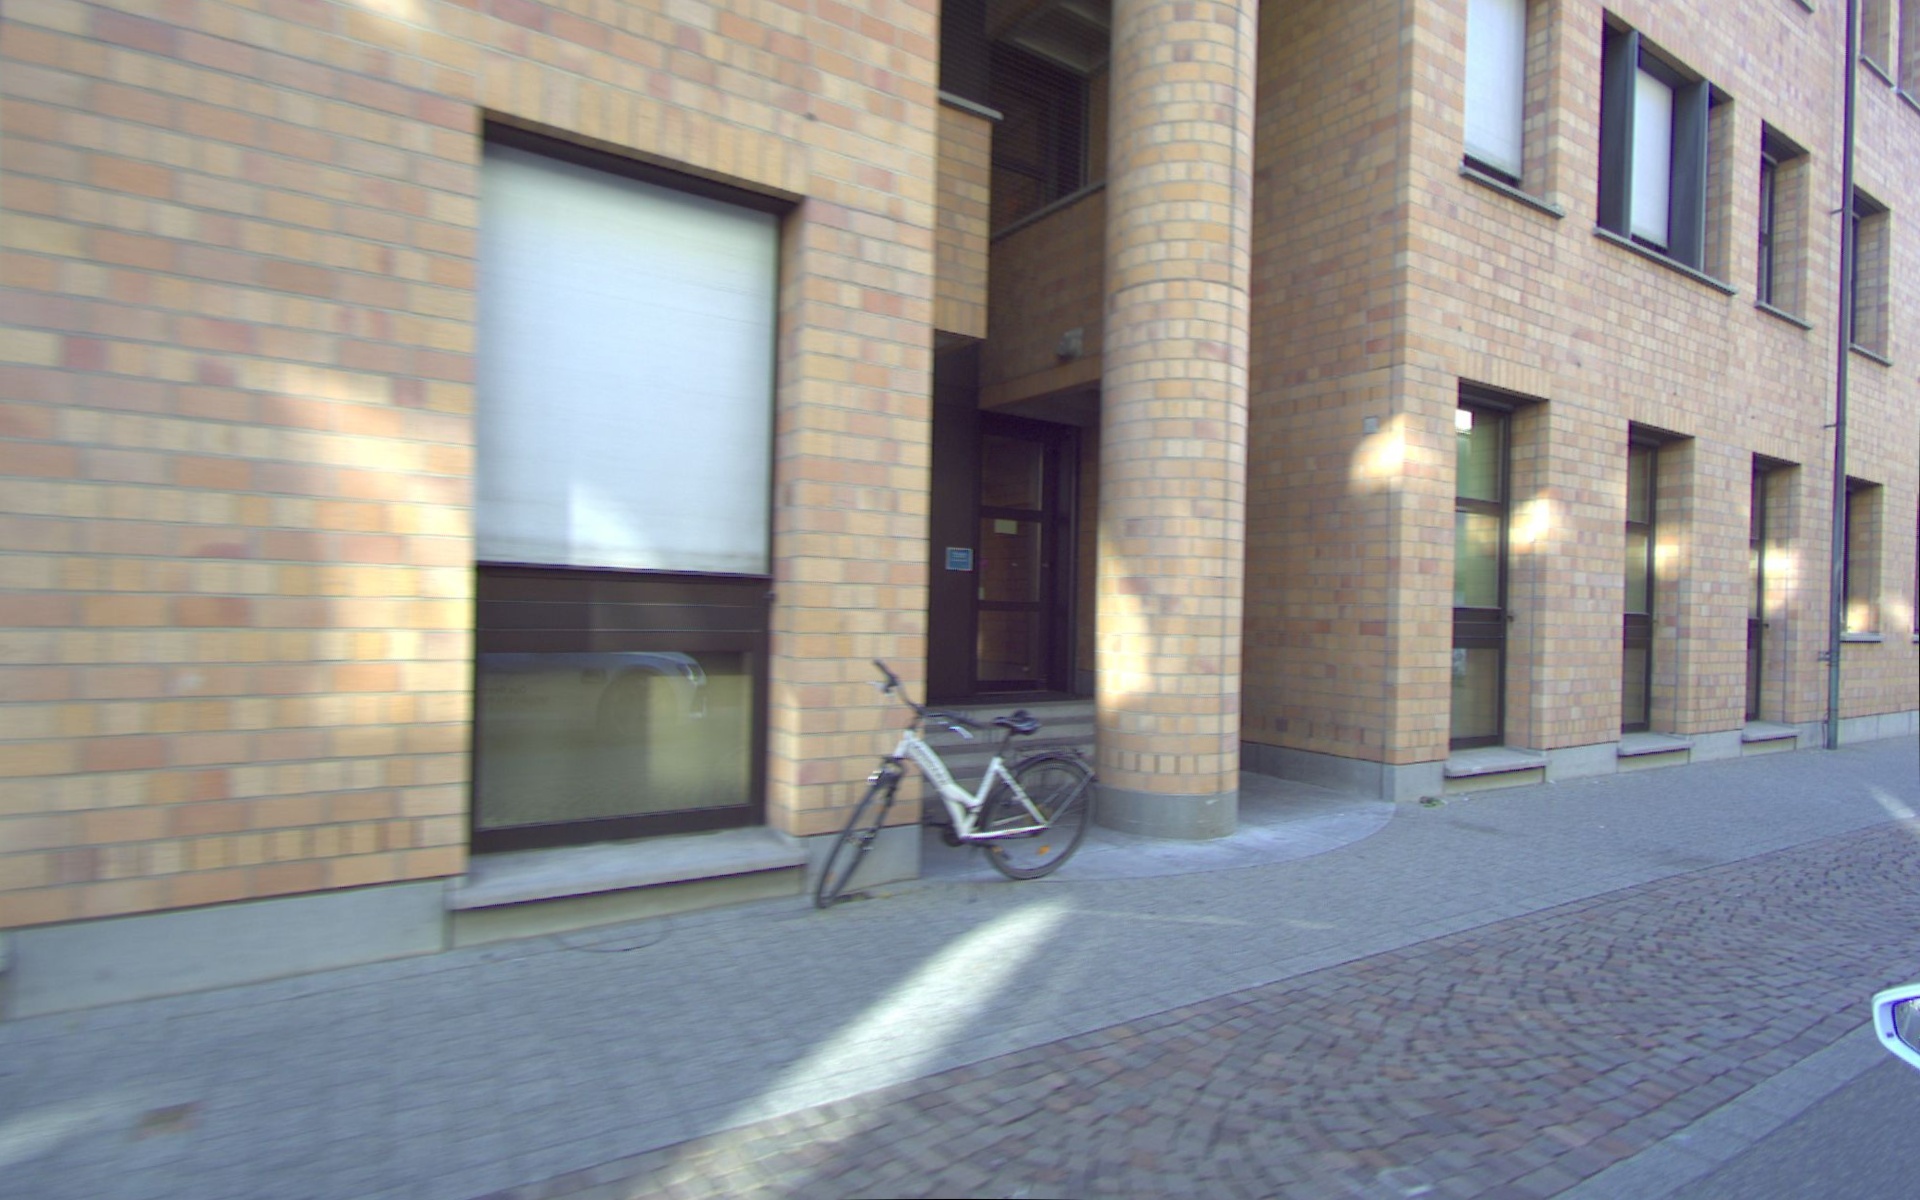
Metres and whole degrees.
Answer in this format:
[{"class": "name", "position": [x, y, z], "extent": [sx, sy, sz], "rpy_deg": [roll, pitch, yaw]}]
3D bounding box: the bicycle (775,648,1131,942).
[{"class": "bicycle", "position": [0.017, 0.884, 5.140], "extent": [1.789, 1.178, 0.626], "rpy_deg": [1, 3, -40]}]
